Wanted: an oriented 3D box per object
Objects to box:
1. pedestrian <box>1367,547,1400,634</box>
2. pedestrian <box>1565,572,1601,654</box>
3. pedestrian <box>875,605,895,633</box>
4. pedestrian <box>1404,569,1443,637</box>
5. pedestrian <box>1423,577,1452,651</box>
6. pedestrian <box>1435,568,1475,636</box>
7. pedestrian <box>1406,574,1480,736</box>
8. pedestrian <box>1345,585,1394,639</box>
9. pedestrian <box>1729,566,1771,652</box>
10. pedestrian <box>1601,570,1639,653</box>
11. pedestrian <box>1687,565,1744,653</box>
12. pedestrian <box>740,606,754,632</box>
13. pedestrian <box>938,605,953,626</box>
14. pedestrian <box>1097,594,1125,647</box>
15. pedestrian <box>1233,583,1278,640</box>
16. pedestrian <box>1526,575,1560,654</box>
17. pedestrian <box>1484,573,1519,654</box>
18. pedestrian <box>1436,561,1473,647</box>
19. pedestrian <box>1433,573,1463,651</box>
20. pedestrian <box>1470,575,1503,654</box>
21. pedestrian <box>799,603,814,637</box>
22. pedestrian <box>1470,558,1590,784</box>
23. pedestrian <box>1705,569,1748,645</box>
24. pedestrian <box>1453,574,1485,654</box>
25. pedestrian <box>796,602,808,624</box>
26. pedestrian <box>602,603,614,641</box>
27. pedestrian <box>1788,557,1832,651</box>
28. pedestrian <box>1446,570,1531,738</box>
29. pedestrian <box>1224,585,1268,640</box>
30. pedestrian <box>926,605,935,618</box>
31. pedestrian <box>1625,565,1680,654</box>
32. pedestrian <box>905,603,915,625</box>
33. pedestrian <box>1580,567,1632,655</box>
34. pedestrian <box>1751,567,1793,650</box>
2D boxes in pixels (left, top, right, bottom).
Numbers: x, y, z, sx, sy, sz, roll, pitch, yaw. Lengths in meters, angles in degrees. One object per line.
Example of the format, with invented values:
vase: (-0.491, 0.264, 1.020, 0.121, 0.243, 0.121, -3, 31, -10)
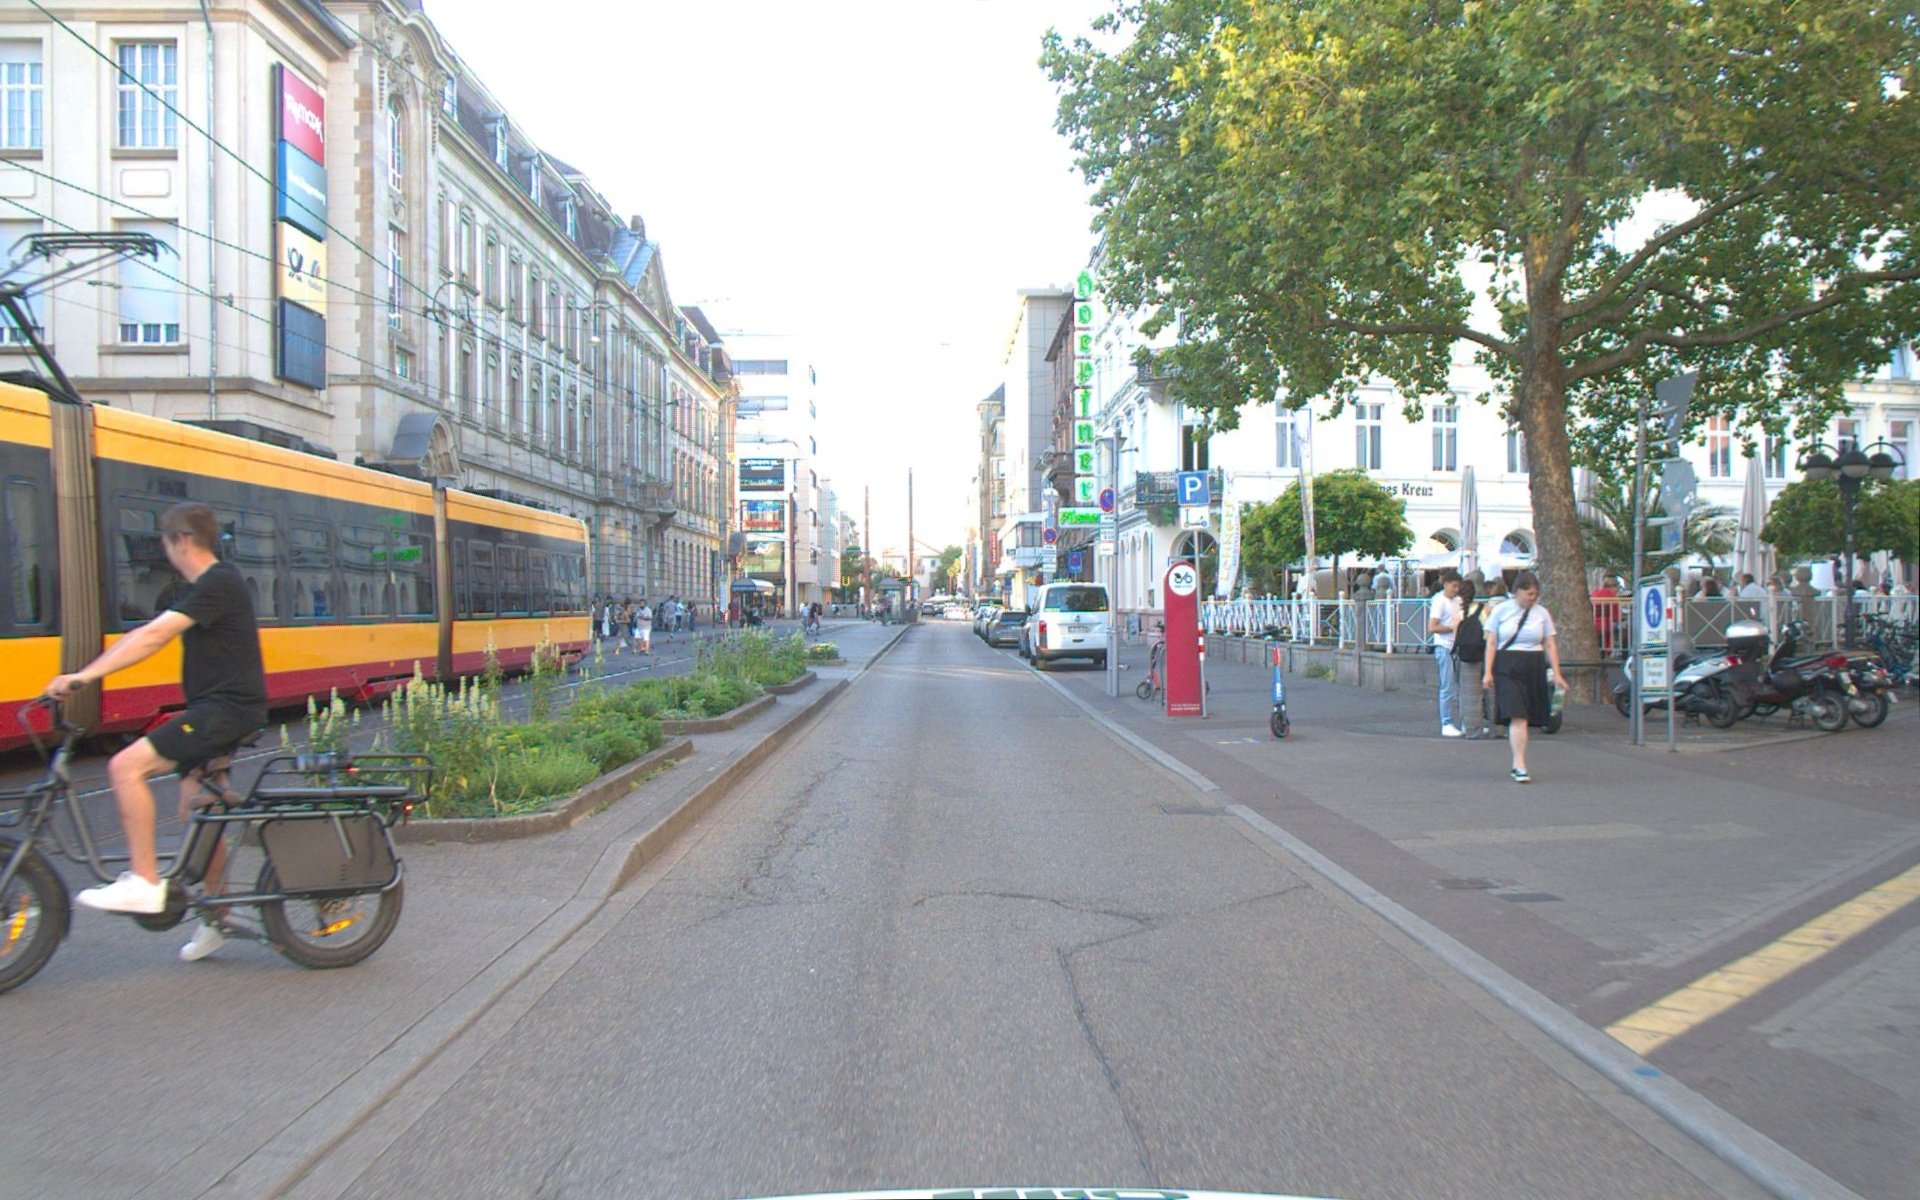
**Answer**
pedestrian: (11.541, -0.240, 45.132, 0.604, 2.345, 0.577, 0, -2, -23)
pedestrian: (10.128, 0.219, 26.909, 0.466, 1.307, 0.525, -1, -2, 16)
pedestrian: (-4.658, 1.193, 102.871, 1.026, 1.715, 0.909, -1, -2, 10)
pedestrian: (11.530, 0.076, 41.158, 0.742, 1.672, 0.659, -1, -2, -1)
pedestrian: (8.753, 0.266, 30.328, 0.463, 1.328, 0.540, -1, -2, 13)
pedestrian: (12.349, 0.060, 41.290, 0.742, 1.672, 0.658, -1, -2, -5)
pedestrian: (5.350, 0.609, 18.353, 0.601, 1.747, 0.662, -1, -2, 1)
pedestrian: (10.098, 0.295, 40.791, 0.944, 1.289, 0.905, -1, -2, -1)
pedestrian: (12.275, 0.147, 25.709, 0.464, 1.307, 0.540, -1, -2, 15)
pedestrian: (10.568, 0.194, 26.504, 0.464, 1.307, 0.540, -1, -2, 15)
pedestrian: (11.470, 0.144, 25.125, 0.630, 1.307, 0.741, -1, -2, 15)
pedestrian: (-13.374, 1.167, 103.781, 0.764, 1.608, 0.676, 0, 0, -13)
pedestrian: (-1.360, 1.453, 154.071, 1.210, 1.962, 1.017, 0, -1, -17)
pedestrian: (5.138, 0.709, 56.301, 0.772, 1.782, 0.893, -1, -2, -8)
pedestrian: (7.171, 0.282, 40.156, 0.884, 1.337, 0.966, -1, -2, -2)
pedestrian: (9.831, 0.251, 27.905, 0.463, 1.307, 0.540, -1, -2, 13)
pedestrian: (8.914, 0.226, 27.247, 0.463, 1.307, 0.540, -1, -2, 13)
pedestrian: (9.392, 0.087, 31.410, 0.605, 1.599, 0.631, -1, -2, 13)
pedestrian: (8.765, 0.222, 29.708, 0.463, 1.388, 0.540, -1, -2, 13)
pedestrian: (8.869, 0.246, 27.871, 0.463, 1.307, 0.540, -1, -2, 13)
pedestrian: (-7.414, 0.963, 79.857, 0.676, 1.665, 0.580, 0, 0, -9)
pedestrian: (4.795, 0.585, 13.951, 0.699, 1.835, 0.824, -1, -1, 2)
pedestrian: (13.407, 0.121, 28.939, 0.527, 1.307, 0.475, -1, -2, 9)
pedestrian: (8.755, 0.241, 28.480, 0.463, 1.353, 0.540, -1, -2, 13)
pedestrian: (-14.091, 1.148, 147.367, 0.891, 1.962, 0.847, 0, 0, -17)
pedestrian: (-15.851, 0.987, 74.529, 0.508, 1.702, 0.480, 0, -1, -16)
pedestrian: (13.040, 0.066, 25.384, 0.464, 1.424, 0.540, -1, -2, 15)
pedestrian: (5.628, 0.577, 17.648, 0.664, 1.747, 0.654, -1, -2, 1)
pedestrian: (7.128, 0.315, 41.227, 0.884, 1.329, 0.966, -1, -2, -2)
pedestrian: (-3.875, 1.515, 217.294, 0.768, 1.765, 0.809, -3, -3, 39)
pedestrian: (10.462, 0.157, 25.007, 0.630, 1.307, 0.741, -1, -2, 15)
pedestrian: (-3.596, 1.030, 118.324, 0.601, 1.550, 0.619, 0, -2, -10)
pedestrian: (9.847, 0.179, 25.240, 0.630, 1.307, 0.741, -1, -2, 15)
pedestrian: (12.930, 0.145, 26.344, 0.464, 1.307, 0.540, -1, -2, 15)
